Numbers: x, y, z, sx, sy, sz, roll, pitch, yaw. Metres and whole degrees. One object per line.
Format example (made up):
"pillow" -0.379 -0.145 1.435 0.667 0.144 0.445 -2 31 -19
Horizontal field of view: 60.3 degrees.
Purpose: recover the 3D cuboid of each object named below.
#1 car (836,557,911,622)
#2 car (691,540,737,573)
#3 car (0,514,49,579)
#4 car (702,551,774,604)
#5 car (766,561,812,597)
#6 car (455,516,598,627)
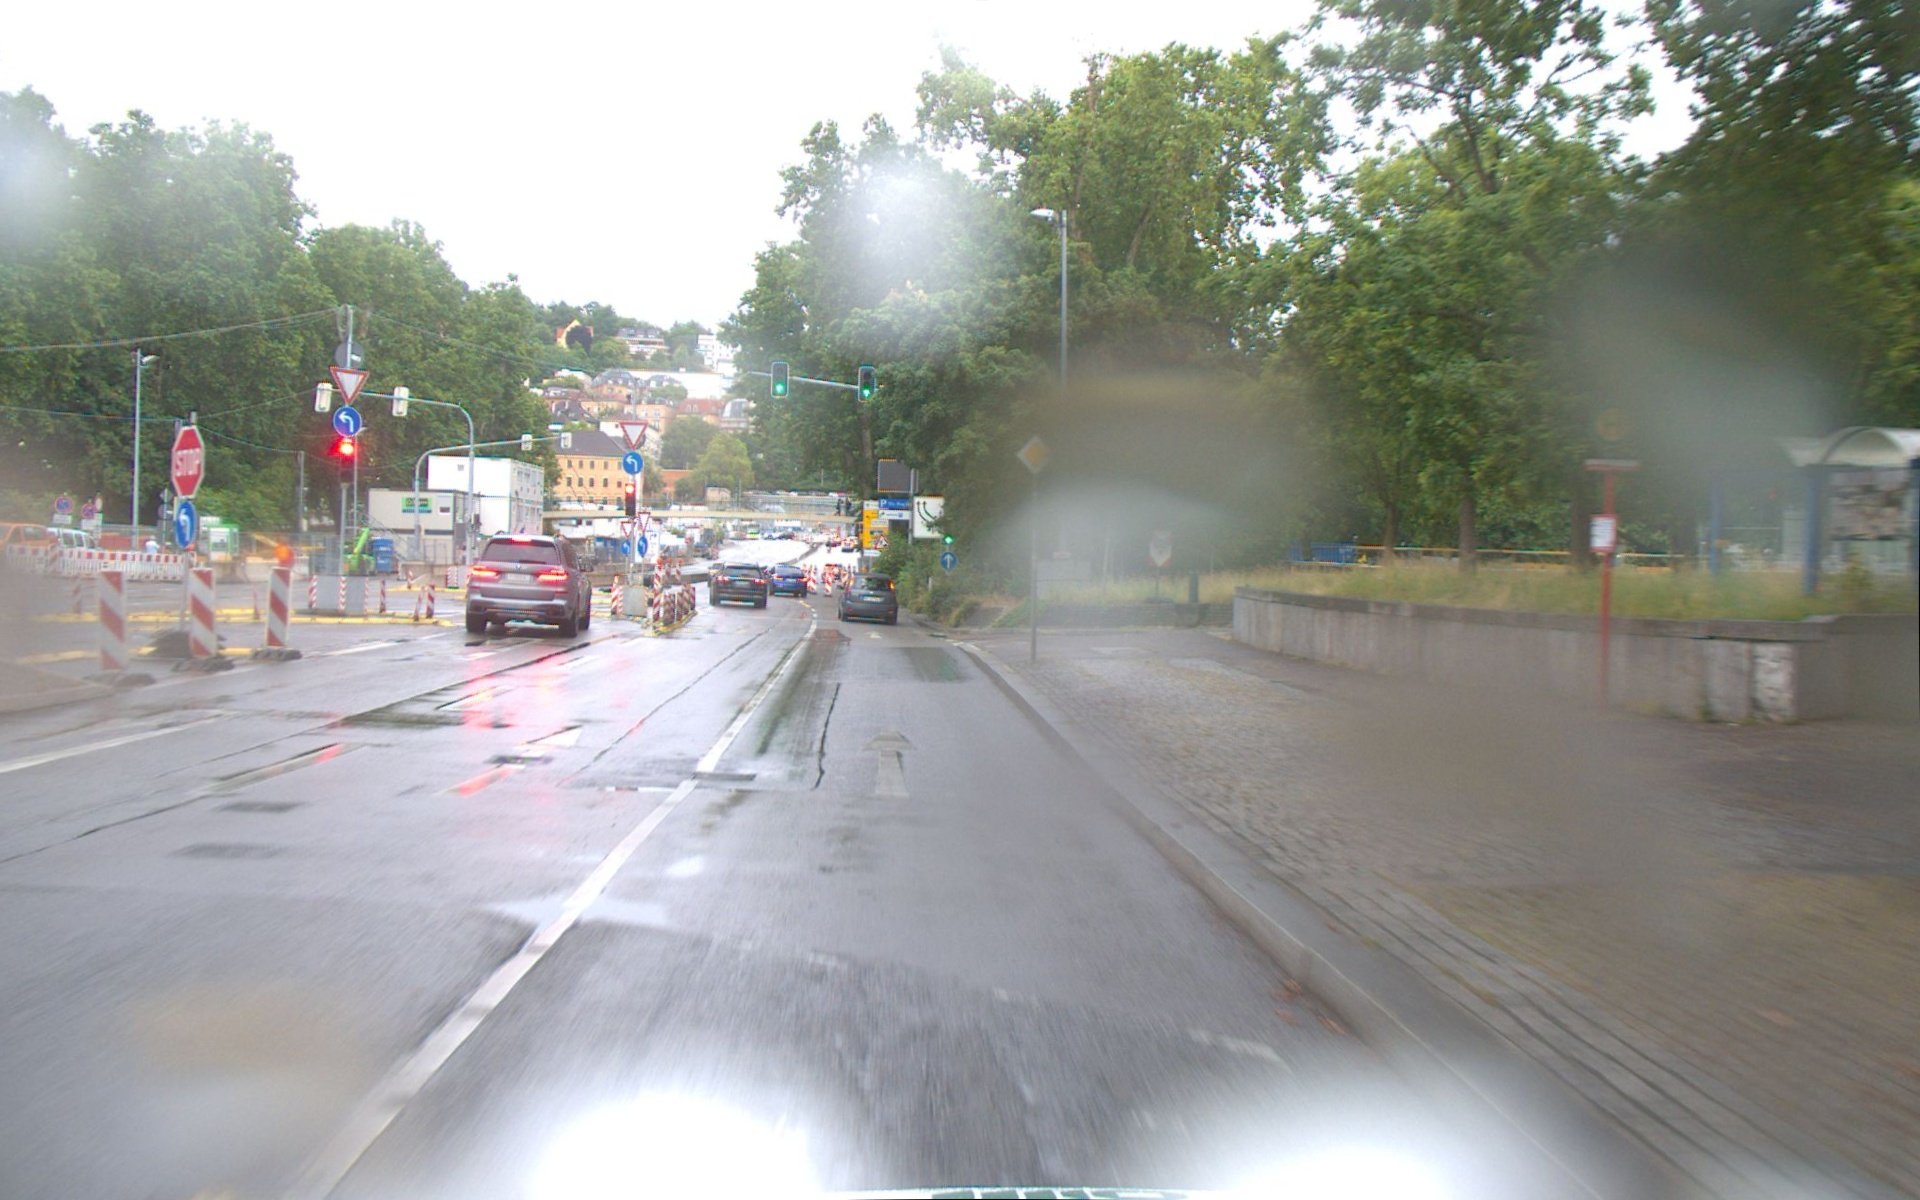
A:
"car" -2.510 -0.325 48.847 1.813 1.746 4.001 3 1 1
"car" -14.087 -2.469 94.793 1.865 1.746 4.001 3 1 1
"car" -36.811 -2.047 63.366 1.881 2.403 4.507 0 1 -9
"car" -7.636 -0.817 57.230 1.792 1.715 4.135 2 1 2
"car" -8.201 -1.030 79.350 1.639 1.608 3.241 3 1 3
"car" -8.046 -0.544 31.029 1.955 1.858 3.995 3 1 -7
